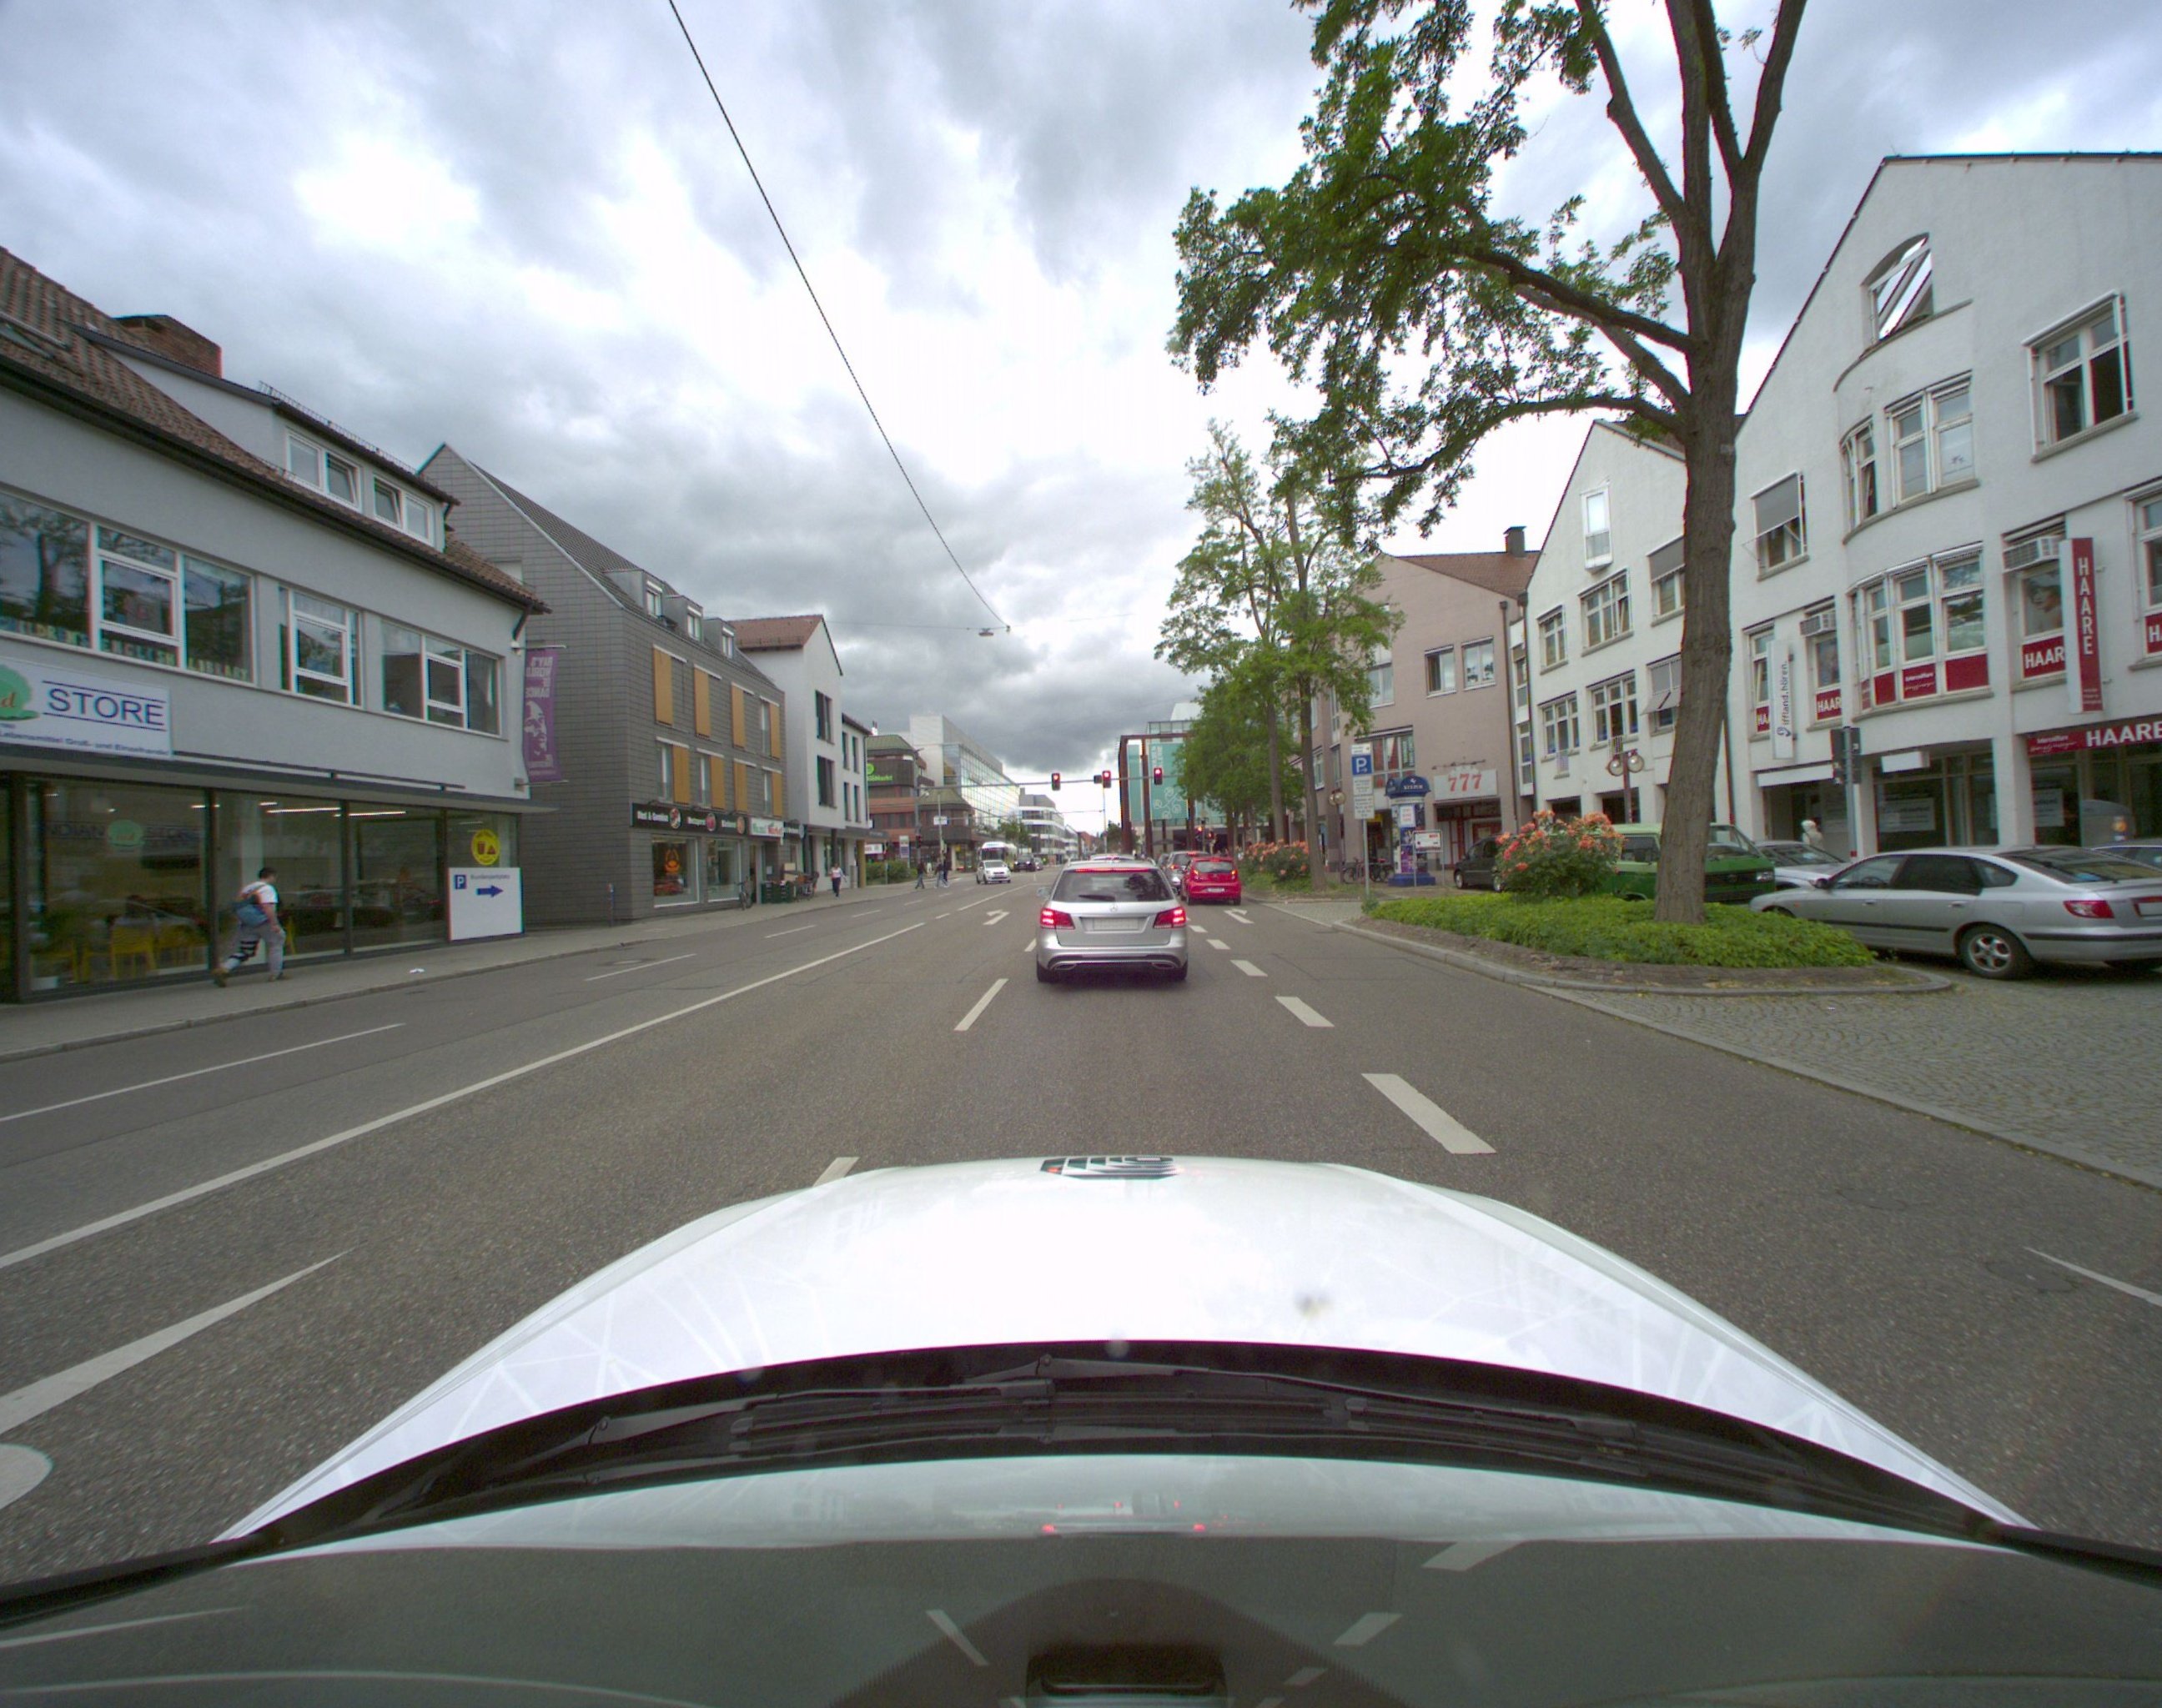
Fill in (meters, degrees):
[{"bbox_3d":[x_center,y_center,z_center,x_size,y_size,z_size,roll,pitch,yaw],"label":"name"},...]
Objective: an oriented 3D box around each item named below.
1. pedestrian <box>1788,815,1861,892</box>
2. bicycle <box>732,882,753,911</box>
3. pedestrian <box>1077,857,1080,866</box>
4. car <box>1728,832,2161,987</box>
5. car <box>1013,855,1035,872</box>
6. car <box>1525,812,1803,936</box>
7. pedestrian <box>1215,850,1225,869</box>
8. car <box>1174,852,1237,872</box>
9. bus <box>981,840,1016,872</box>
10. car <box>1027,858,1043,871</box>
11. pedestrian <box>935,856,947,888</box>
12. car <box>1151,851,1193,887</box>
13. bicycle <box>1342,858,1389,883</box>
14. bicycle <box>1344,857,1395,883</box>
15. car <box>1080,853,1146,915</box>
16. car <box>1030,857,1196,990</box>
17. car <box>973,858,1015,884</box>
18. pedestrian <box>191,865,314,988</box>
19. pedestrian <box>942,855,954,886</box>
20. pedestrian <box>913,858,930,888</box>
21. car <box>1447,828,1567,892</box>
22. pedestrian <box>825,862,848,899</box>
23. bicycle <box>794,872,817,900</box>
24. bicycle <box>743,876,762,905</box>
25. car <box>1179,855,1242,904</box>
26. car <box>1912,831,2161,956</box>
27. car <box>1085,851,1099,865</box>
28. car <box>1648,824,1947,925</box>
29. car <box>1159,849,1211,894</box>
[{"bbox_3d":[16.803,-0.015,18.428,0.786,1.659,0.819,-4,0,2],"label":"pedestrian"},{"bbox_3d":[-12.044,1.504,29.017,0.325,0.954,1.479,-2,0,-9],"label":"bicycle"},{"bbox_3d":[-0.493,1.551,167.643,0.515,1.734,0.491,-2,0,20],"label":"pedestrian"},{"bbox_3d":[10.660,0.531,10.079,1.757,1.450,4.419,-2,0,0],"label":"car"},{"bbox_3d":[-6.033,1.031,86.630,1.986,1.706,4.065,-2,0,1],"label":"car"},{"bbox_3d":[10.595,0.323,15.354,1.874,1.876,4.605,-3,0,0],"label":"car"},{"bbox_3d":[12.634,0.490,74.107,0.652,1.650,0.557,-2,0,-13],"label":"pedestrian"},{"bbox_3d":[9.750,0.639,64.083,4.695,1.369,1.965,-2,0,3],"label":"car"},{"bbox_3d":[-8.989,0.223,89.469,2.677,3.261,8.655,-2,0,1],"label":"bus"},{"bbox_3d":[-5.286,1.186,94.068,1.549,1.392,3.288,-2,0,1],"label":"car"},{"bbox_3d":[-8.031,1.050,46.745,0.646,1.790,0.682,-2,0,-9],"label":"pedestrian"},{"bbox_3d":[4.301,0.688,38.911,1.581,1.595,3.868,0,0,1],"label":"car"},{"bbox_3d":[11.851,0.680,33.953,1.759,0.997,0.447,-2,0,6],"label":"bicycle"},{"bbox_3d":[11.820,0.659,33.407,1.891,0.997,0.468,-2,0,6],"label":"bicycle"},{"bbox_3d":[0.864,0.746,22.111,1.633,1.527,3.395,-1,0,2],"label":"car"},{"bbox_3d":[0.443,0.774,11.078,1.808,1.448,4.372,0,0,2],"label":"car"},{"bbox_3d":[-5.414,1.057,50.439,1.581,1.488,3.436,-3,0,-24],"label":"car"},{"bbox_3d":[-12.086,1.023,11.913,0.751,1.705,0.981,1,0,2],"label":"pedestrian"},{"bbox_3d":[-7.835,0.981,48.095,0.644,1.775,0.569,-2,0,-9],"label":"pedestrian"},{"bbox_3d":[-9.000,1.077,45.936,0.646,1.650,0.562,-2,0,17],"label":"pedestrian"},{"bbox_3d":[13.742,0.187,26.551,1.633,1.831,3.964,-3,0,-2],"label":"car"},{"bbox_3d":[-10.959,1.164,36.551,0.725,1.610,0.753,-2,0,2],"label":"pedestrian"},{"bbox_3d":[-12.120,1.397,35.881,0.385,1.186,1.825,-2,0,-1],"label":"bicycle"},{"bbox_3d":[-13.373,1.474,33.152,0.386,1.127,1.286,-2,0,-8],"label":"bicycle"},{"bbox_3d":[4.001,0.764,25.661,1.580,1.443,3.350,0,0,2],"label":"car"},{"bbox_3d":[13.428,0.432,9.957,1.990,1.376,4.419,-3,0,0],"label":"car"},{"bbox_3d":[1.598,0.600,119.679,1.986,1.949,4.951,-2,0,1],"label":"car"},{"bbox_3d":[13.252,0.336,15.520,1.790,1.542,4.394,-3,0,0],"label":"car"},{"bbox_3d":[3.988,0.642,31.824,1.581,1.634,3.916,0,0,1],"label":"car"}]
